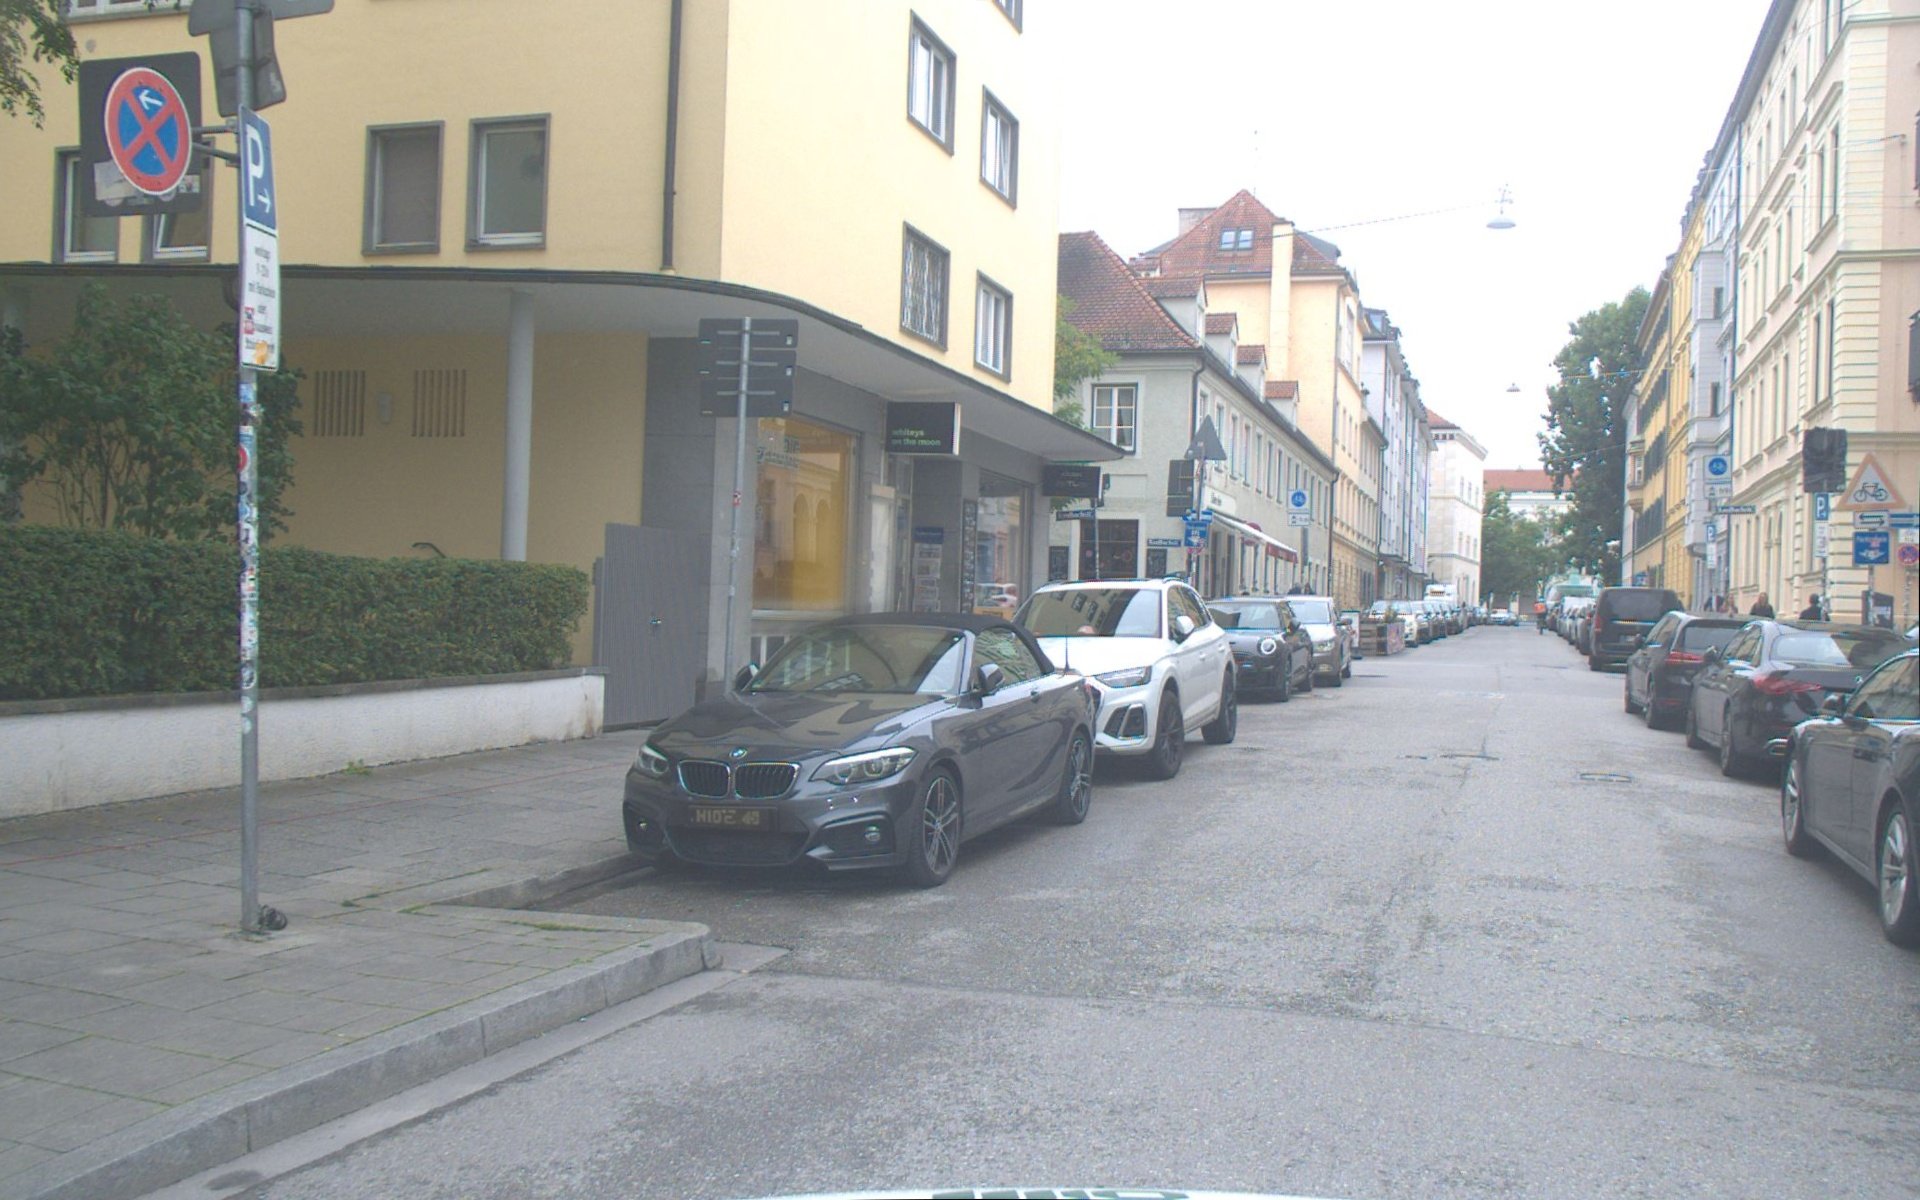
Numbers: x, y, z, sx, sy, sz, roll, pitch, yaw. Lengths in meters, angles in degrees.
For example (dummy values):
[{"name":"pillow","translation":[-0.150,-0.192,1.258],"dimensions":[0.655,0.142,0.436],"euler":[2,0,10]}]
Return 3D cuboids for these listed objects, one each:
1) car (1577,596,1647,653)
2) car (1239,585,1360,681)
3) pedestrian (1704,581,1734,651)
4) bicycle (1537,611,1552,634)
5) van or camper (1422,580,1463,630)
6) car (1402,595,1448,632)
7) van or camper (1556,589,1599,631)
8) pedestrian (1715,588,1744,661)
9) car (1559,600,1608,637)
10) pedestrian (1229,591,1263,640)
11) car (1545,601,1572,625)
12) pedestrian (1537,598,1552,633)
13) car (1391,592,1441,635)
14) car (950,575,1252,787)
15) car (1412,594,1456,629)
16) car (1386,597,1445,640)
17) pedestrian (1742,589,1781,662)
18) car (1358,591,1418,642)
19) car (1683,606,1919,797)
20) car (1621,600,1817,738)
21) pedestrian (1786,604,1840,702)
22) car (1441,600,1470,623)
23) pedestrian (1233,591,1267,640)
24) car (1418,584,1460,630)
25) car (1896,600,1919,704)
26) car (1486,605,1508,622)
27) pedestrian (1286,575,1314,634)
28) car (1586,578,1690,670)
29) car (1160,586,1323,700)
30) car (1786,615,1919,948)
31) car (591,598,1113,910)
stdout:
[{"name":"car","translation":[19.295,0.713,49.064],"dimensions":[1.718,1.547,4.276],"euler":[2,0,19]},{"name":"car","translation":[5.944,0.518,28.539],"dimensions":[1.643,1.497,4.953],"euler":[0,0,16]},{"name":"pedestrian","translation":[22.210,0.466,48.405],"dimensions":[0.655,2.015,0.708],"euler":[-2,-2,20]},{"name":"bicycle","translation":[29.231,1.142,82.729],"dimensions":[0.661,1.114,1.760],"euler":[1,-1,19]},{"name":"van or camper","translation":[24.196,0.258,82.858],"dimensions":[1.718,2.321,5.275],"euler":[2,0,18]},{"name":"car","translation":[19.227,0.518,68.463],"dimensions":[1.777,1.467,4.134],"euler":[1,0,15]},{"name":"van or camper","translation":[30.260,0.489,81.155],"dimensions":[1.795,1.904,5.080],"euler":[2,0,19]},{"name":"pedestrian","translation":[17.858,0.578,38.409],"dimensions":[0.462,1.653,1.070],"euler":[1,-1,18]},{"name":"car","translation":[27.170,0.789,72.133],"dimensions":[1.672,1.479,4.099],"euler":[2,0,17]},{"name":"pedestrian","translation":[7.795,0.421,45.068],"dimensions":[0.786,1.312,0.694],"euler":[1,-1,19]},{"name":"car","translation":[43.294,0.975,119.699],"dimensions":[1.774,1.642,4.156],"euler":[2,0,19]},{"name":"pedestrian","translation":[29.261,0.769,82.809],"dimensions":[0.629,1.744,0.843],"euler":[1,-1,20]},{"name":"car","translation":[17.536,0.512,63.507],"dimensions":[1.718,1.522,4.203],"euler":[2,0,16]},{"name":"car","translation":[1.453,0.588,15.128],"dimensions":[1.765,1.611,4.340],"euler":[0,1,19]},{"name":"car","translation":[20.962,0.511,73.030],"dimensions":[1.718,1.433,4.105],"euler":[2,0,17]},{"name":"car","translation":[16.016,0.610,58.062],"dimensions":[1.761,1.362,4.688],"euler":[2,1,18]},{"name":"pedestrian","translation":[18.510,0.589,38.205],"dimensions":[0.645,1.649,0.980],"euler":[1,-1,18]},{"name":"car","translation":[13.766,0.521,53.110],"dimensions":[1.718,1.500,3.716],"euler":[3,1,16]},{"name":"car","translation":[8.204,0.862,16.056],"dimensions":[1.612,1.449,4.512],"euler":[4,2,17]},{"name":"car","translation":[9.670,0.800,21.365],"dimensions":[1.640,1.449,4.206],"euler":[4,2,17]},{"name":"pedestrian","translation":[15.676,0.969,30.416],"dimensions":[0.704,1.747,1.004],"euler":[1,-1,18]},{"name":"car","translation":[32.854,0.753,109.626],"dimensions":[1.779,1.470,3.820],"euler":[1,0,18]},{"name":"pedestrian","translation":[8.019,0.434,45.757],"dimensions":[0.786,1.312,0.694],"euler":[1,-1,19]},{"name":"car","translation":[22.519,0.317,77.807],"dimensions":[1.717,2.030,4.629],"euler":[2,0,15]},{"name":"car","translation":[17.693,0.896,26.873],"dimensions":[4.002,1.633,1.756],"euler":[1,2,18]},{"name":"car","translation":[50.213,1.280,154.678],"dimensions":[1.671,1.609,3.862],"euler":[1,0,21]},{"name":"pedestrian","translation":[11.407,0.167,55.439],"dimensions":[0.805,1.931,0.828],"euler":[1,-1,18]},{"name":"car","translation":[15.654,0.523,38.404],"dimensions":[1.956,1.897,5.254],"euler":[2,1,20]},{"name":"car","translation":[4.187,0.566,24.103],"dimensions":[1.644,1.497,4.098],"euler":[0,0,20]},{"name":"car","translation":[5.715,0.875,8.725],"dimensions":[1.765,1.435,4.658],"euler":[3,1,19]},{"name":"car","translation":[-0.388,0.721,9.988],"dimensions":[1.709,1.435,4.099],"euler":[0,0,19]}]
